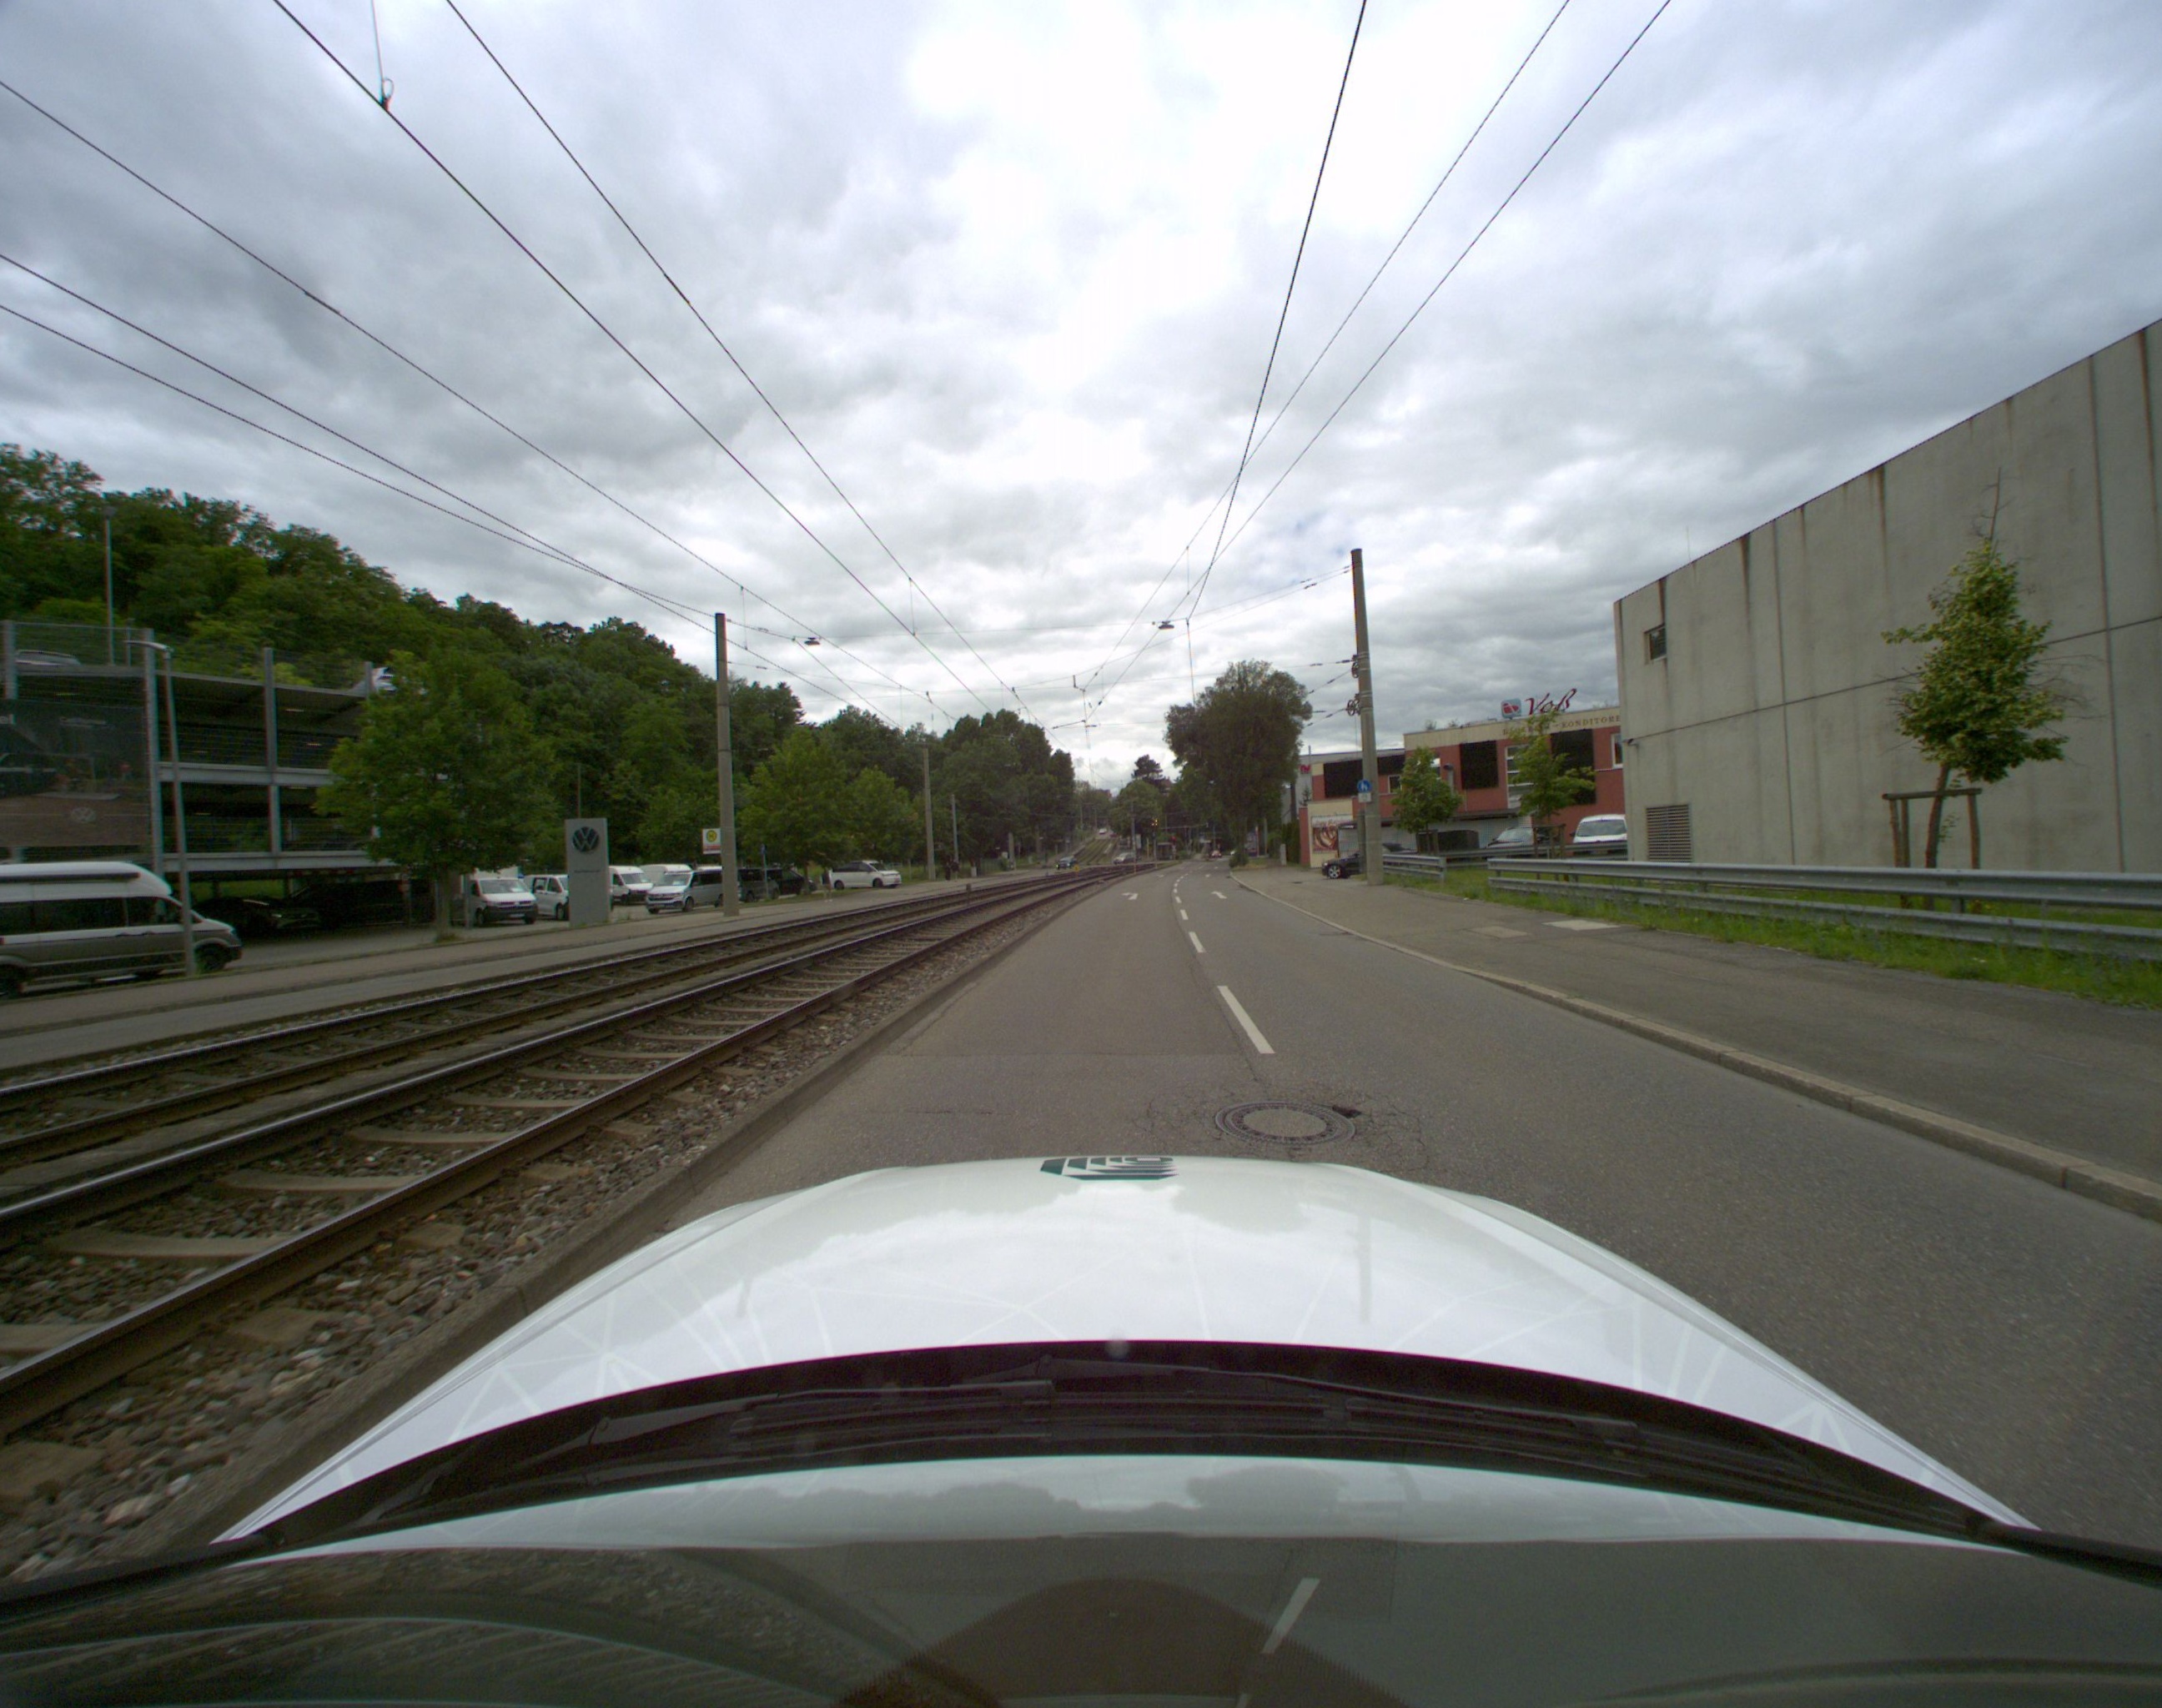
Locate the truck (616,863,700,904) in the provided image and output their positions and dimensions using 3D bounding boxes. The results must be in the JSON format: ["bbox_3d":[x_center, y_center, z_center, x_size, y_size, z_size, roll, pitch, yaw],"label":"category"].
[{"bbox_3d":[-30.098,2.081,57.859,5.704,2.588,2.484,-3,0,30],"label":"truck"}]

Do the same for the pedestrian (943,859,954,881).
[{"bbox_3d":[-10.840,1.316,66.486,0.624,1.713,0.857,-1,0,8],"label":"pedestrian"}]

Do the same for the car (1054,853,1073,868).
[{"bbox_3d":[-2.083,0.732,97.508,1.679,1.532,4.262,-6,0,5],"label":"car"}]

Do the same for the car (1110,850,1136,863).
[{"bbox_3d":[5.981,0.351,114.589,1.873,1.532,4.282,-6,0,27],"label":"car"}]

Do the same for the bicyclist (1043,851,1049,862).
[{"bbox_3d":[-6.028,0.493,139.281,0.820,1.849,1.049,-3,0,-7],"label":"bicyclist"}]

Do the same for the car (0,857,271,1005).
[{"bbox_3d":[-23.349,1.668,19.161,2.096,3.019,5.949,-3,0,7],"label":"car"}]

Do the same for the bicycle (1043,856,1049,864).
[{"bbox_3d":[-6.029,1.083,139.578,0.823,1.343,2.989,-3,0,-6],"label":"bicycle"}]

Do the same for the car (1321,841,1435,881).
[{"bbox_3d":[12.601,0.299,34.581,4.178,1.443,1.774,-4,-1,33],"label":"car"}]

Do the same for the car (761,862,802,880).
[{"bbox_3d":[-37.068,2.122,100.848,1.974,2.013,4.432,-3,0,36],"label":"car"}]

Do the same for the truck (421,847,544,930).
[{"bbox_3d":[-24.611,1.438,33.414,5.861,3.085,2.133,-3,0,34],"label":"truck"}]

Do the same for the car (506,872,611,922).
[{"bbox_3d":[-23.072,1.906,35.948,4.669,2.013,2.013,-3,0,32],"label":"car"}]

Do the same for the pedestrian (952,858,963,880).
[{"bbox_3d":[-10.089,1.230,66.471,0.672,1.813,0.857,-1,0,8],"label":"pedestrian"}]

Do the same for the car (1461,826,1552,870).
[{"bbox_3d":[16.960,-0.264,32.328,2.133,1.548,4.549,-2,0,41],"label":"car"}]

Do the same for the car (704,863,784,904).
[{"bbox_3d":[-18.856,1.605,45.844,1.985,2.013,5.135,-3,0,4],"label":"car"}]

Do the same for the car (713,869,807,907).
[{"bbox_3d":[-20.031,2.069,50.841,5.090,2.013,2.144,-3,0,-32],"label":"car"}]

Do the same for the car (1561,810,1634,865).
[{"bbox_3d":[19.128,-0.625,30.054,1.836,1.832,4.571,-3,0,37],"label":"car"}]

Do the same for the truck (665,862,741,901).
[{"bbox_3d":[-27.781,2.006,59.856,5.007,2.588,2.484,-3,0,30],"label":"truck"}]

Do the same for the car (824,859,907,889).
[{"bbox_3d":[-14.617,1.376,55.274,5.015,1.888,2.177,-2,-1,18],"label":"car"}]

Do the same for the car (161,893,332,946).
[{"bbox_3d":[-31.060,2.410,30.437,4.113,1.618,1.997,-3,0,-4],"label":"car"}]

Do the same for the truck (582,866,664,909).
[{"bbox_3d":[-30.693,2.238,54.574,5.007,2.588,2.484,-3,0,30],"label":"truck"}]

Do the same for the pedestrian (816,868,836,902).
[{"bbox_3d":[-12.928,1.579,41.356,0.716,1.655,1.041,0,0,-2],"label":"pedestrian"}]

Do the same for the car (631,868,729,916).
[{"bbox_3d":[-19.319,1.763,39.484,1.985,2.013,4.923,-3,0,3],"label":"car"}]

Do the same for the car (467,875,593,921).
[{"bbox_3d":[-26.156,2.048,38.817,1.974,1.831,4.496,-3,0,31],"label":"car"}]
